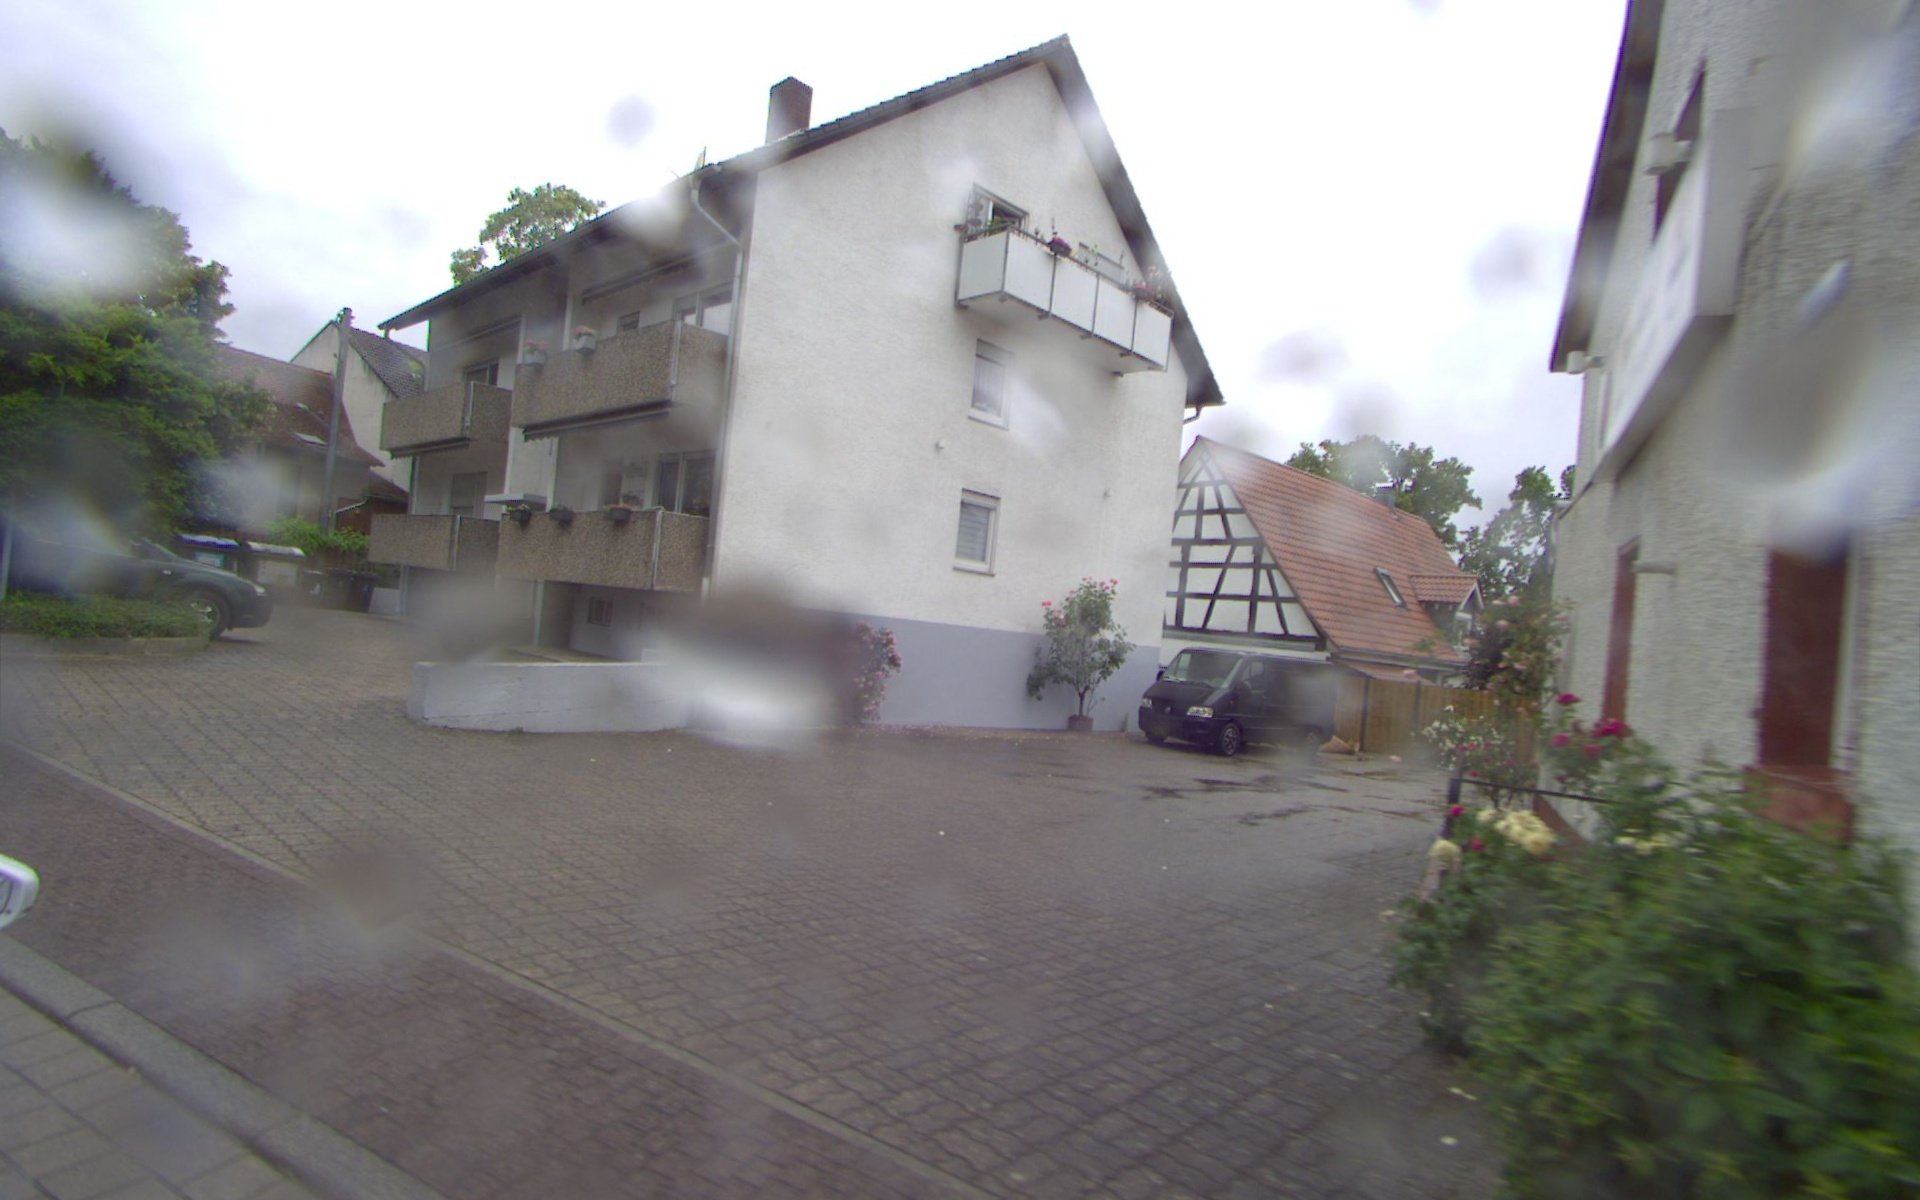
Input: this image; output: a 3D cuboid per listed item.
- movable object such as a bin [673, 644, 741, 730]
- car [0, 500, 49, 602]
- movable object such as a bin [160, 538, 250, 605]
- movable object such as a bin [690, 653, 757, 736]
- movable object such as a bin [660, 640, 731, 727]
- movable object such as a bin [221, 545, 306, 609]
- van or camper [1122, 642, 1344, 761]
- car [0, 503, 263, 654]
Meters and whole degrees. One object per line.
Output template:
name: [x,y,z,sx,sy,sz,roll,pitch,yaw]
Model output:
movable object such as a bin: [-3.495,1.197,13.870,0.620,1.078,0.564,9,-2,-36]
car: [-17.426,-1.052,16.018,1.832,1.608,4.064,6,-2,41]
movable object such as a bin: [-18.059,-0.672,24.087,1.135,1.373,1.245,7,-2,29]
movable object such as a bin: [-3.069,1.212,13.032,0.618,0.959,0.653,8,-2,-24]
movable object such as a bin: [-3.820,1.202,14.534,0.621,1.131,0.683,9,-2,-40]
movable object such as a bin: [-17.451,-0.572,25.214,1.135,1.373,1.245,7,-2,29]
van or camper: [5.871,2.191,21.300,4.822,2.037,2.174,8,-2,-43]
car: [-10.932,-0.336,11.761,1.672,1.498,4.222,6,-2,42]
